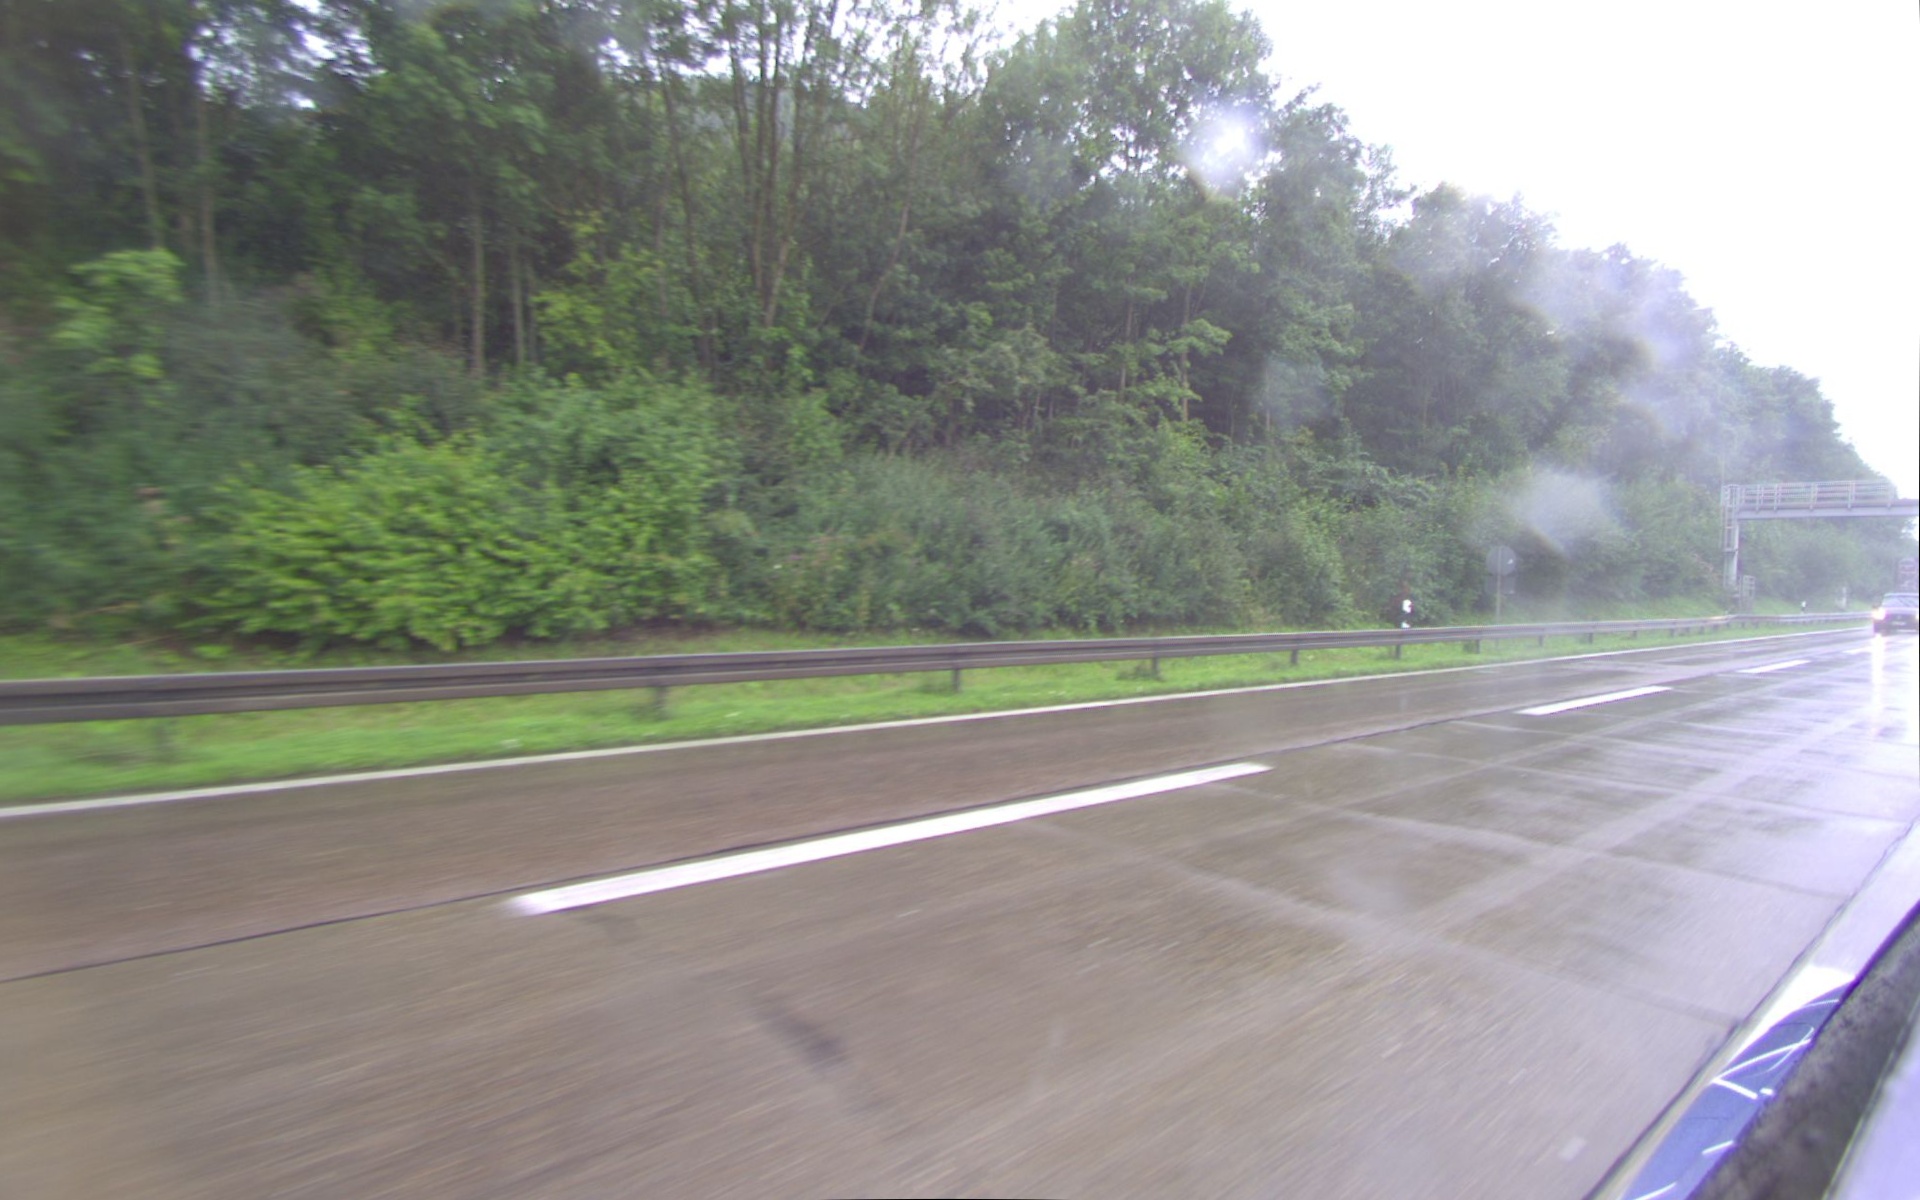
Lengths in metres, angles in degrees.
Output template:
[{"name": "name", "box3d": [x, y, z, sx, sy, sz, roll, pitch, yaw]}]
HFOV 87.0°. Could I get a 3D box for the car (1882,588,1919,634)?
[{"name": "car", "box3d": [44.460, 0.494, 46.909, 3.927, 2.039, 1.859, 0, 1, -38]}]
